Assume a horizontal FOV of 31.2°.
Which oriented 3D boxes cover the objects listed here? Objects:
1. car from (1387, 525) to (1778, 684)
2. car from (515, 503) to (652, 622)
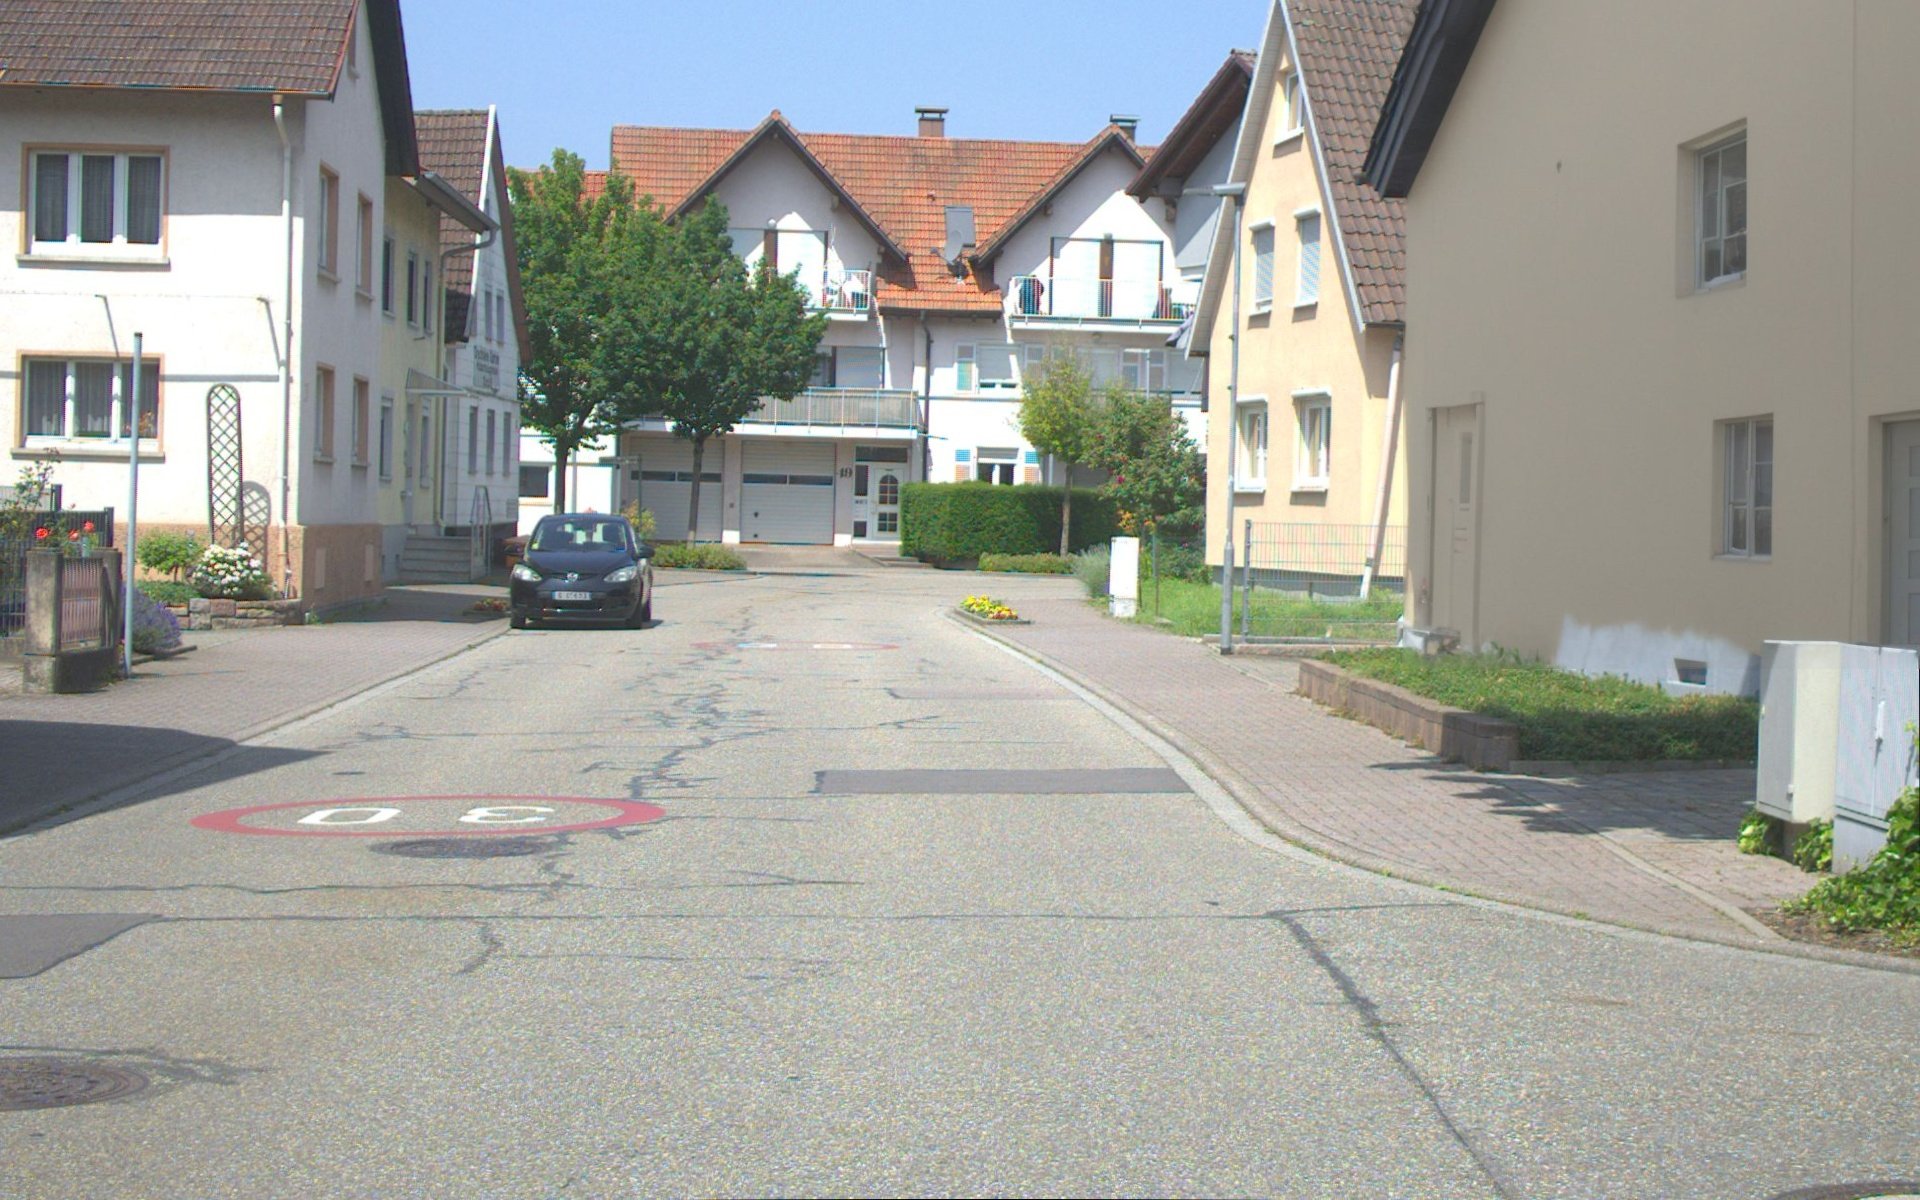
[{"bbox_3d":[5.408,0.034,29.995,3.042,1.341,1.423,0,1,-9],"label":"car"},{"bbox_3d":[-4.908,-0.529,45.213,1.626,1.481,4.001,0,2,-4],"label":"car"}]
